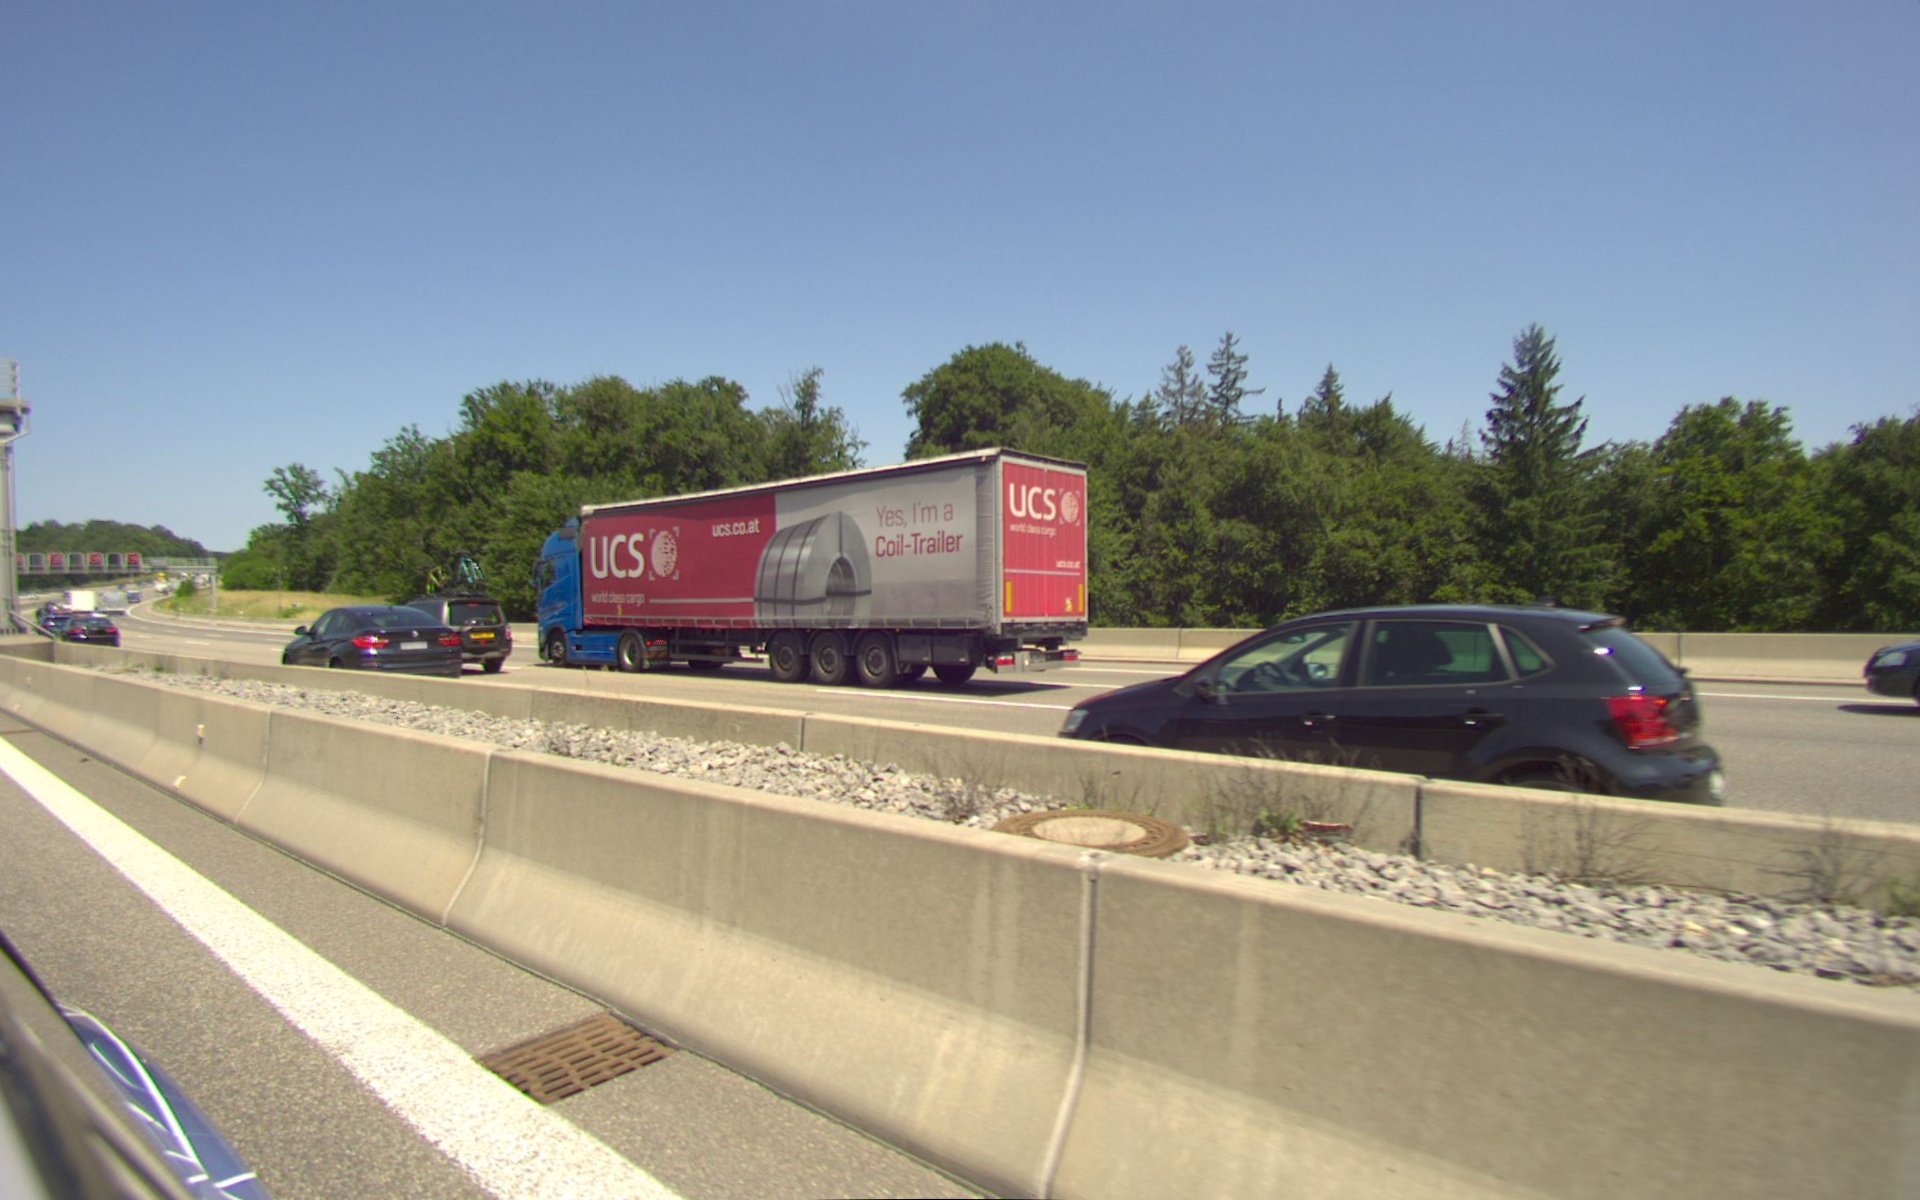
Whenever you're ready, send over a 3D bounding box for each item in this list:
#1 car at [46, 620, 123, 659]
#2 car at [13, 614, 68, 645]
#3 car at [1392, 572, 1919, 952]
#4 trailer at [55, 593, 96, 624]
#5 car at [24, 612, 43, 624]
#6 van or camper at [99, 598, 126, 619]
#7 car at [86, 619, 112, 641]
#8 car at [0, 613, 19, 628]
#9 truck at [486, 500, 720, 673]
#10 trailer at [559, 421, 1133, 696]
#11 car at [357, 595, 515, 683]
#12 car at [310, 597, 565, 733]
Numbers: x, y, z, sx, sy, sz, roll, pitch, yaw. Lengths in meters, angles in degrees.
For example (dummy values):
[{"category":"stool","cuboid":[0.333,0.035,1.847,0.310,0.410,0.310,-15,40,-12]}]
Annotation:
[{"category":"car","cuboid":[-37.929,1.680,43.785,5.132,1.530,1.935,-1,-1,42]},{"category":"car","cuboid":[-50.819,1.599,55.910,4.521,1.530,1.833,1,0,43]},{"category":"car","cuboid":[4.686,0.628,4.471,4.820,1.521,1.752,0,1,40]},{"category":"trailer","cuboid":[-128.743,1.270,147.171,13.956,4.294,2.834,0,-1,42]},{"category":"car","cuboid":[-126.200,2.465,137.840,4.364,1.531,1.741,1,2,44]},{"category":"van or camper","cuboid":[-134.653,1.326,160.835,2.732,3.148,8.102,-1,2,-44]},{"category":"car","cuboid":[-90.808,3.144,106.731,1.970,2.029,4.005,-1,2,-43]},{"category":"car","cuboid":[-112.510,2.423,119.401,4.436,1.680,1.971,-1,-1,45]},{"category":"truck","cuboid":[-9.975,-0.336,28.080,5.878,4.208,3.745,-1,1,43]},{"category":"trailer","cuboid":[-3.459,-0.623,22.136,14.472,4.312,3.795,-1,1,42]},{"category":"car","cuboid":[-13.086,0.912,25.144,4.783,1.982,1.972,-1,-1,43]},{"category":"car","cuboid":[-8.509,0.877,16.231,5.195,1.736,1.972,1,2,43]}]
